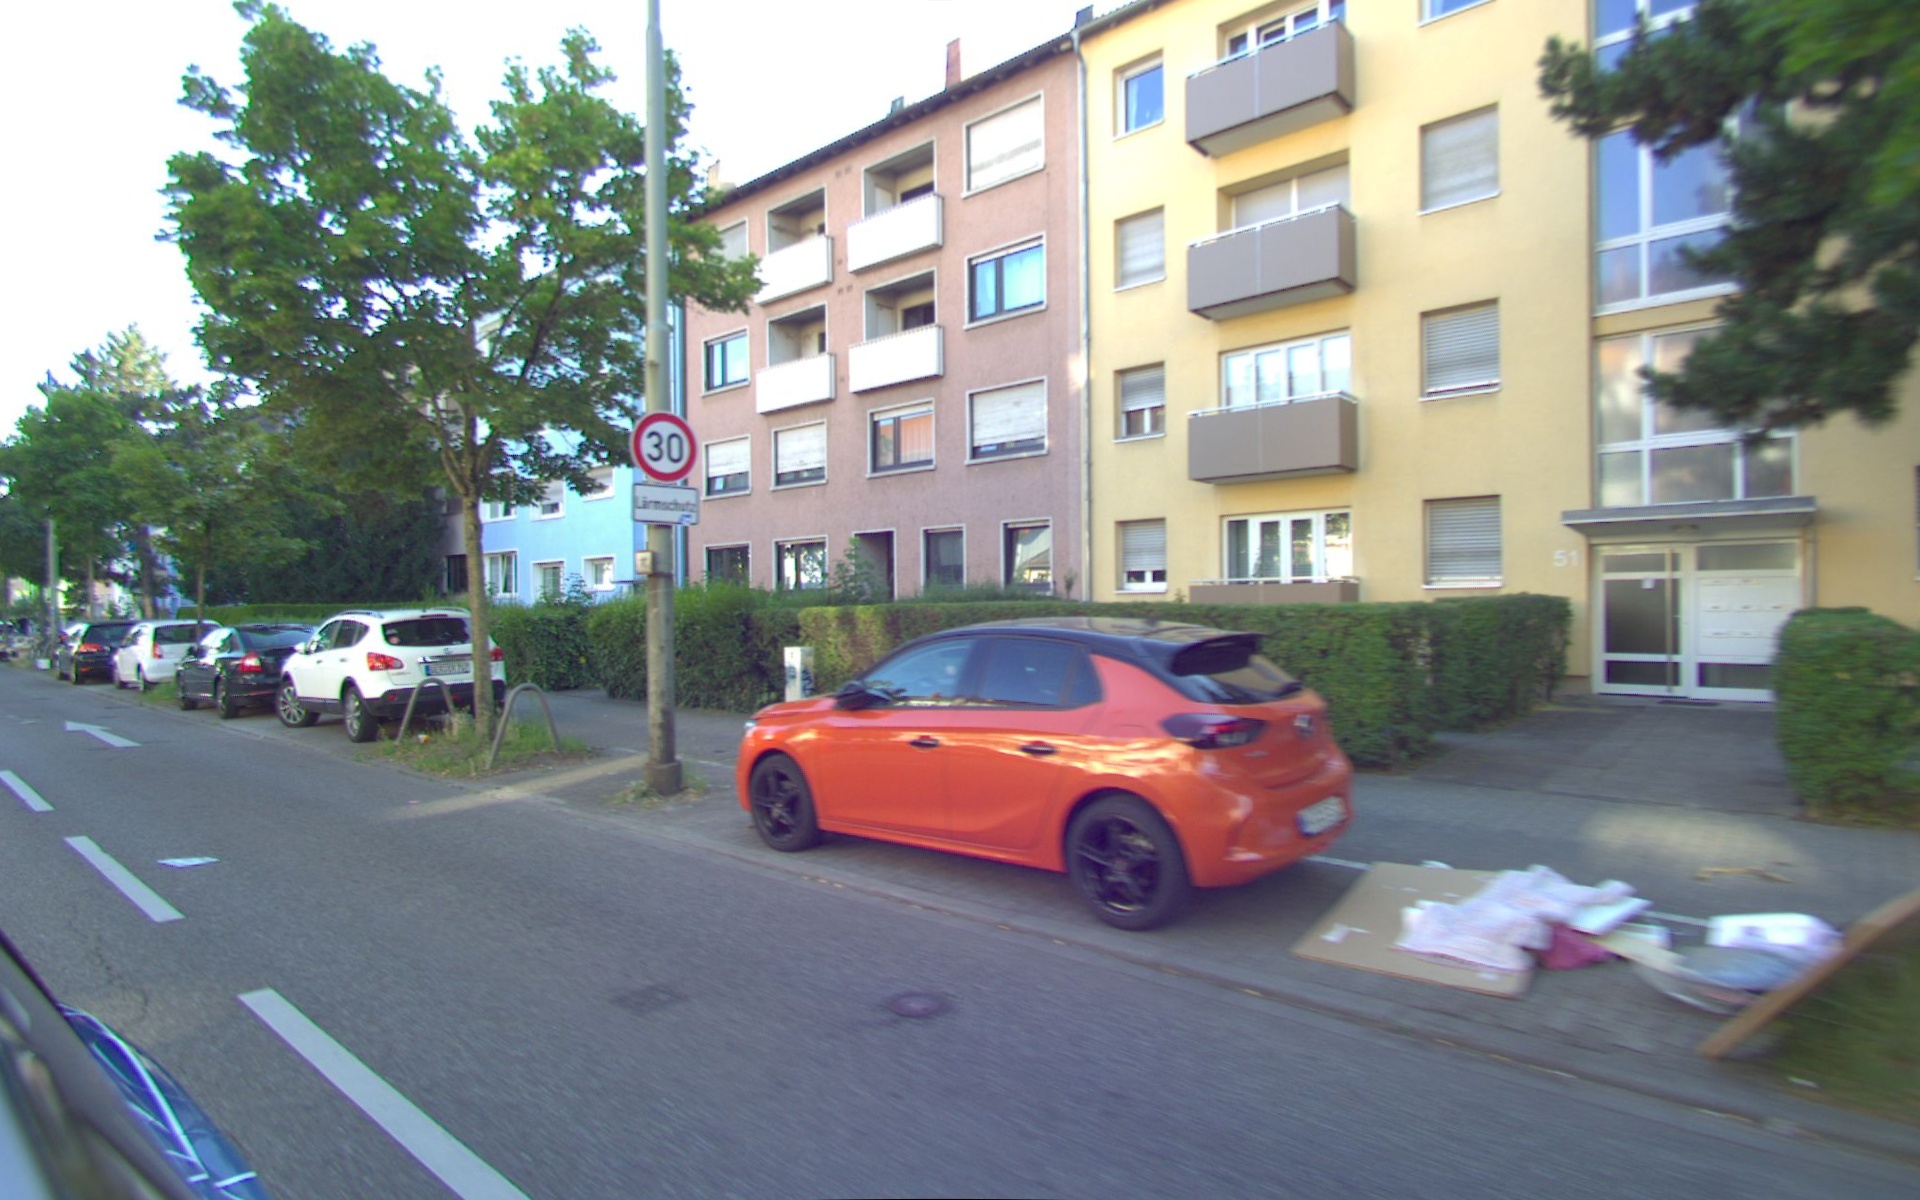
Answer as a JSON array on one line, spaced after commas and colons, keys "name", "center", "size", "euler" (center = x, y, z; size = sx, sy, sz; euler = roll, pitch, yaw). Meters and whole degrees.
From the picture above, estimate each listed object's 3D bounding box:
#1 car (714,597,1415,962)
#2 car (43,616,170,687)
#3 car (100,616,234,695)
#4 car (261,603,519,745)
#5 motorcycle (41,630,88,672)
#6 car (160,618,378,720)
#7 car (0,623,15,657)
[{"name": "car", "center": [0.402, 0.777, 6.088], "size": [3.921, 1.462, 1.699], "euler": [-2, 0, 41]}, {"name": "car", "center": [-21.152, 1.202, 25.017], "size": [4.314, 1.529, 1.818], "euler": [-1, 1, 42]}, {"name": "car", "center": [-17.131, 1.133, 21.820], "size": [3.639, 1.503, 1.575], "euler": [0, 1, 41]}, {"name": "car", "center": [-7.789, 0.882, 13.663], "size": [4.184, 1.600, 1.758], "euler": [-1, 0, 42]}, {"name": "motorcycle", "center": [-26.117, 1.465, 29.498], "size": [2.170, 1.145, 0.632], "euler": [-1, 1, 39]}, {"name": "car", "center": [-11.690, 1.056, 17.008], "size": [4.456, 1.459, 1.973], "euler": [-1, -1, 41]}, {"name": "car", "center": [-42.319, 1.757, 43.881], "size": [3.881, 1.454, 1.662], "euler": [-2, 0, 43]}]
